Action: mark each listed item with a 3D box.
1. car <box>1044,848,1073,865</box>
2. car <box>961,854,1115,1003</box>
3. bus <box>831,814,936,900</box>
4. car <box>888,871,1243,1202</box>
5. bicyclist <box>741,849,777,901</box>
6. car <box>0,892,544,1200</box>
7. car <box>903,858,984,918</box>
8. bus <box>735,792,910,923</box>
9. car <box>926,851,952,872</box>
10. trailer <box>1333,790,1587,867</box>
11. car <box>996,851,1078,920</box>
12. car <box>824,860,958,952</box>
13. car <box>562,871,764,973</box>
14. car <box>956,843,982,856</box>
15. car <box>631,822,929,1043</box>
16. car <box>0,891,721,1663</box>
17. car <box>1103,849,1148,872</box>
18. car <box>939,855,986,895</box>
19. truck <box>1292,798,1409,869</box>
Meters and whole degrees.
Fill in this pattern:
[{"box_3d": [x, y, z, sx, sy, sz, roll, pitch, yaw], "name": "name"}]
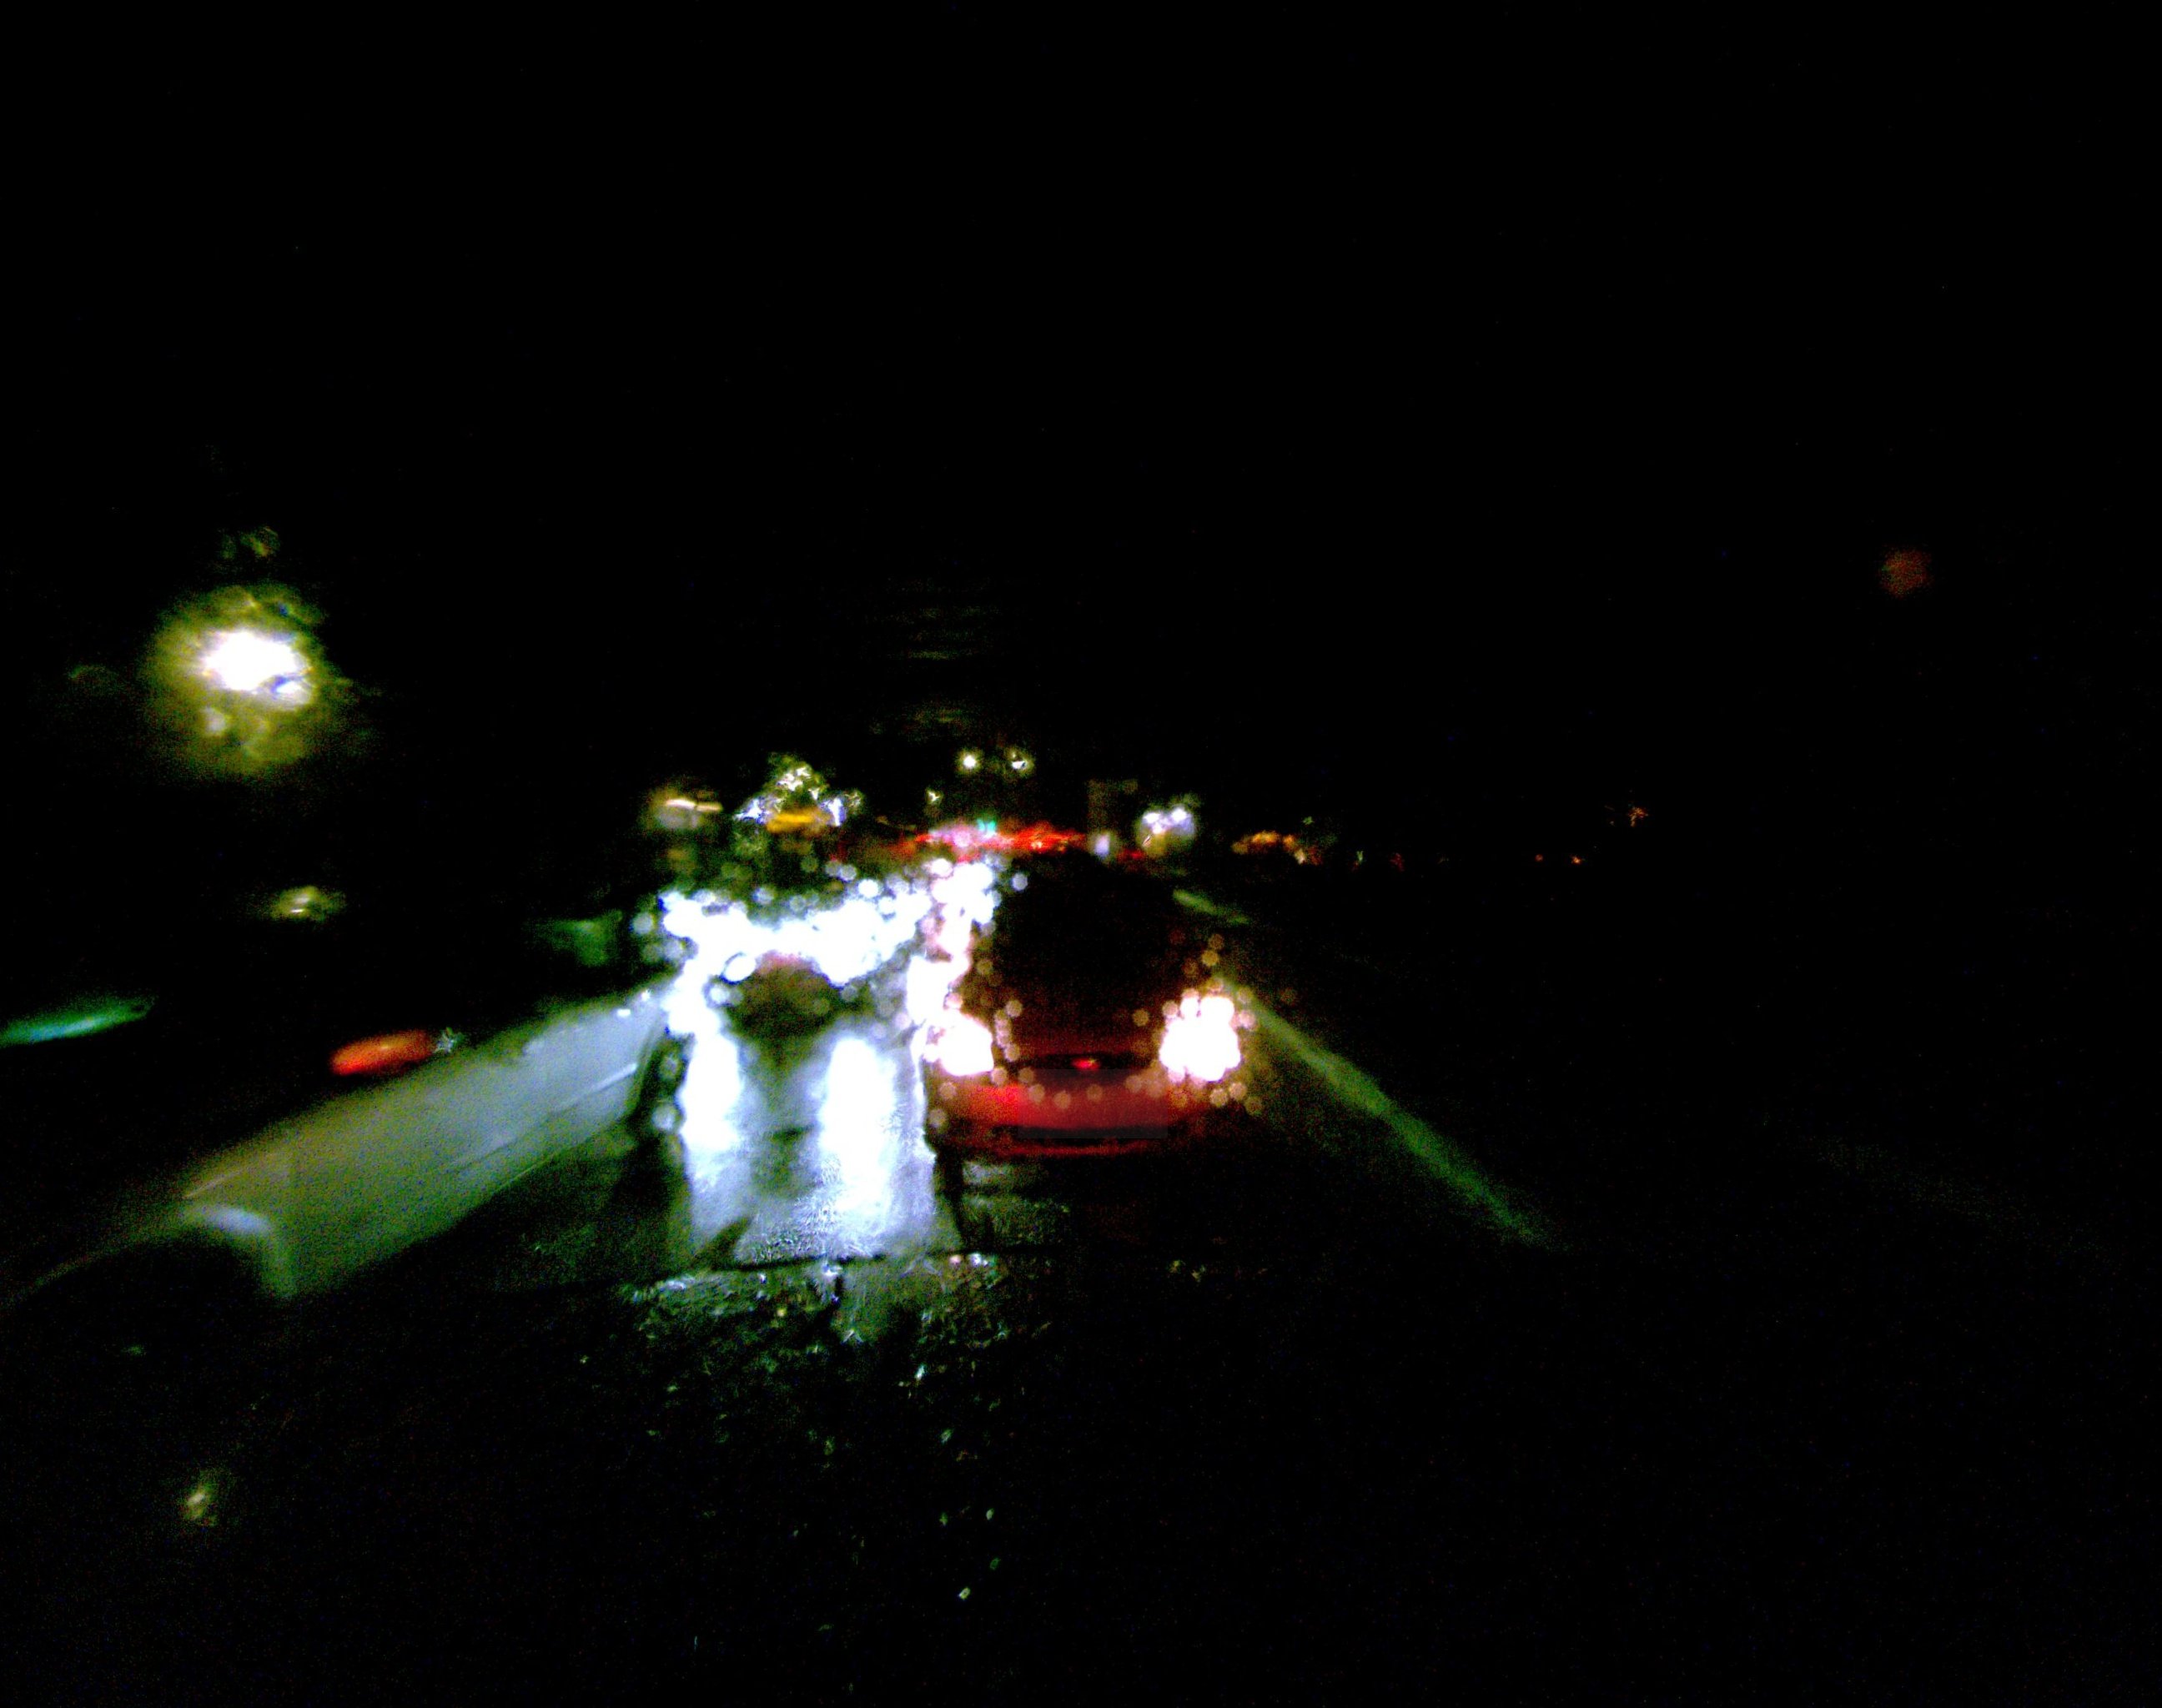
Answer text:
[{"box_3d": [-2.379, 0.277, 78.553, 1.825, 1.595, 4.136, -3, 1, -19], "name": "car"}, {"box_3d": [-0.464, 0.844, 10.625, 1.683, 1.591, 3.996, -2, 1, 1], "name": "car"}, {"box_3d": [-8.270, 0.133, 33.147, 2.777, 3.105, 9.757, -2, 0, -5], "name": "bus"}, {"box_3d": [-0.044, 0.902, 5.515, 1.603, 1.360, 3.942, -2, 1, 1], "name": "car"}, {"box_3d": [-11.282, 0.727, 26.666, 0.798, 1.752, 0.901, -2, 1, 1], "name": "bicyclist"}, {"box_3d": [-6.564, 1.113, 5.922, 1.757, 1.382, 4.564, -2, 0, -5], "name": "car"}, {"box_3d": [-3.917, 0.913, 22.231, 1.629, 1.494, 3.999, -2, 1, 0], "name": "car"}, {"box_3d": [-7.394, 0.099, 23.435, 2.777, 3.105, 9.757, -2, 0, -5], "name": "bus"}, {"box_3d": [-11.651, 0.597, 62.214, 1.745, 1.581, 3.994, -2, 1, -15], "name": "car"}, {"box_3d": [23.719, -1.546, 48.426, 13.903, 4.152, 3.971, -2, 1, 6], "name": "trailer"}, {"box_3d": [-1.072, 0.728, 19.985, 1.881, 1.534, 3.999, -2, 1, -1], "name": "car"}, {"box_3d": [-3.704, 0.938, 15.480, 1.869, 1.503, 3.765, -2, 1, -3], "name": "car"}, {"box_3d": [-7.168, 1.080, 13.507, 1.755, 1.422, 3.758, -1, 0, -5], "name": "car"}, {"box_3d": [-13.777, -0.496, 93.661, 2.002, 1.510, 3.991, -3, 1, -26], "name": "car"}, {"box_3d": [-3.367, 0.742, 9.585, 1.999, 2.076, 4.347, -2, 1, -1], "name": "car"}, {"box_3d": [-3.163, 1.000, 2.690, 1.792, 1.359, 3.999, -2, 2, 0], "name": "car"}, {"box_3d": [3.306, 0.479, 57.360, 2.001, 1.596, 3.993, -3, 1, -19], "name": "car"}, {"box_3d": [-4.885, 0.809, 31.758, 1.683, 1.463, 3.997, -2, 1, -6], "name": "car"}, {"box_3d": [17.266, -1.303, 49.227, 6.368, 4.152, 3.971, -2, 1, 8], "name": "truck"}]
